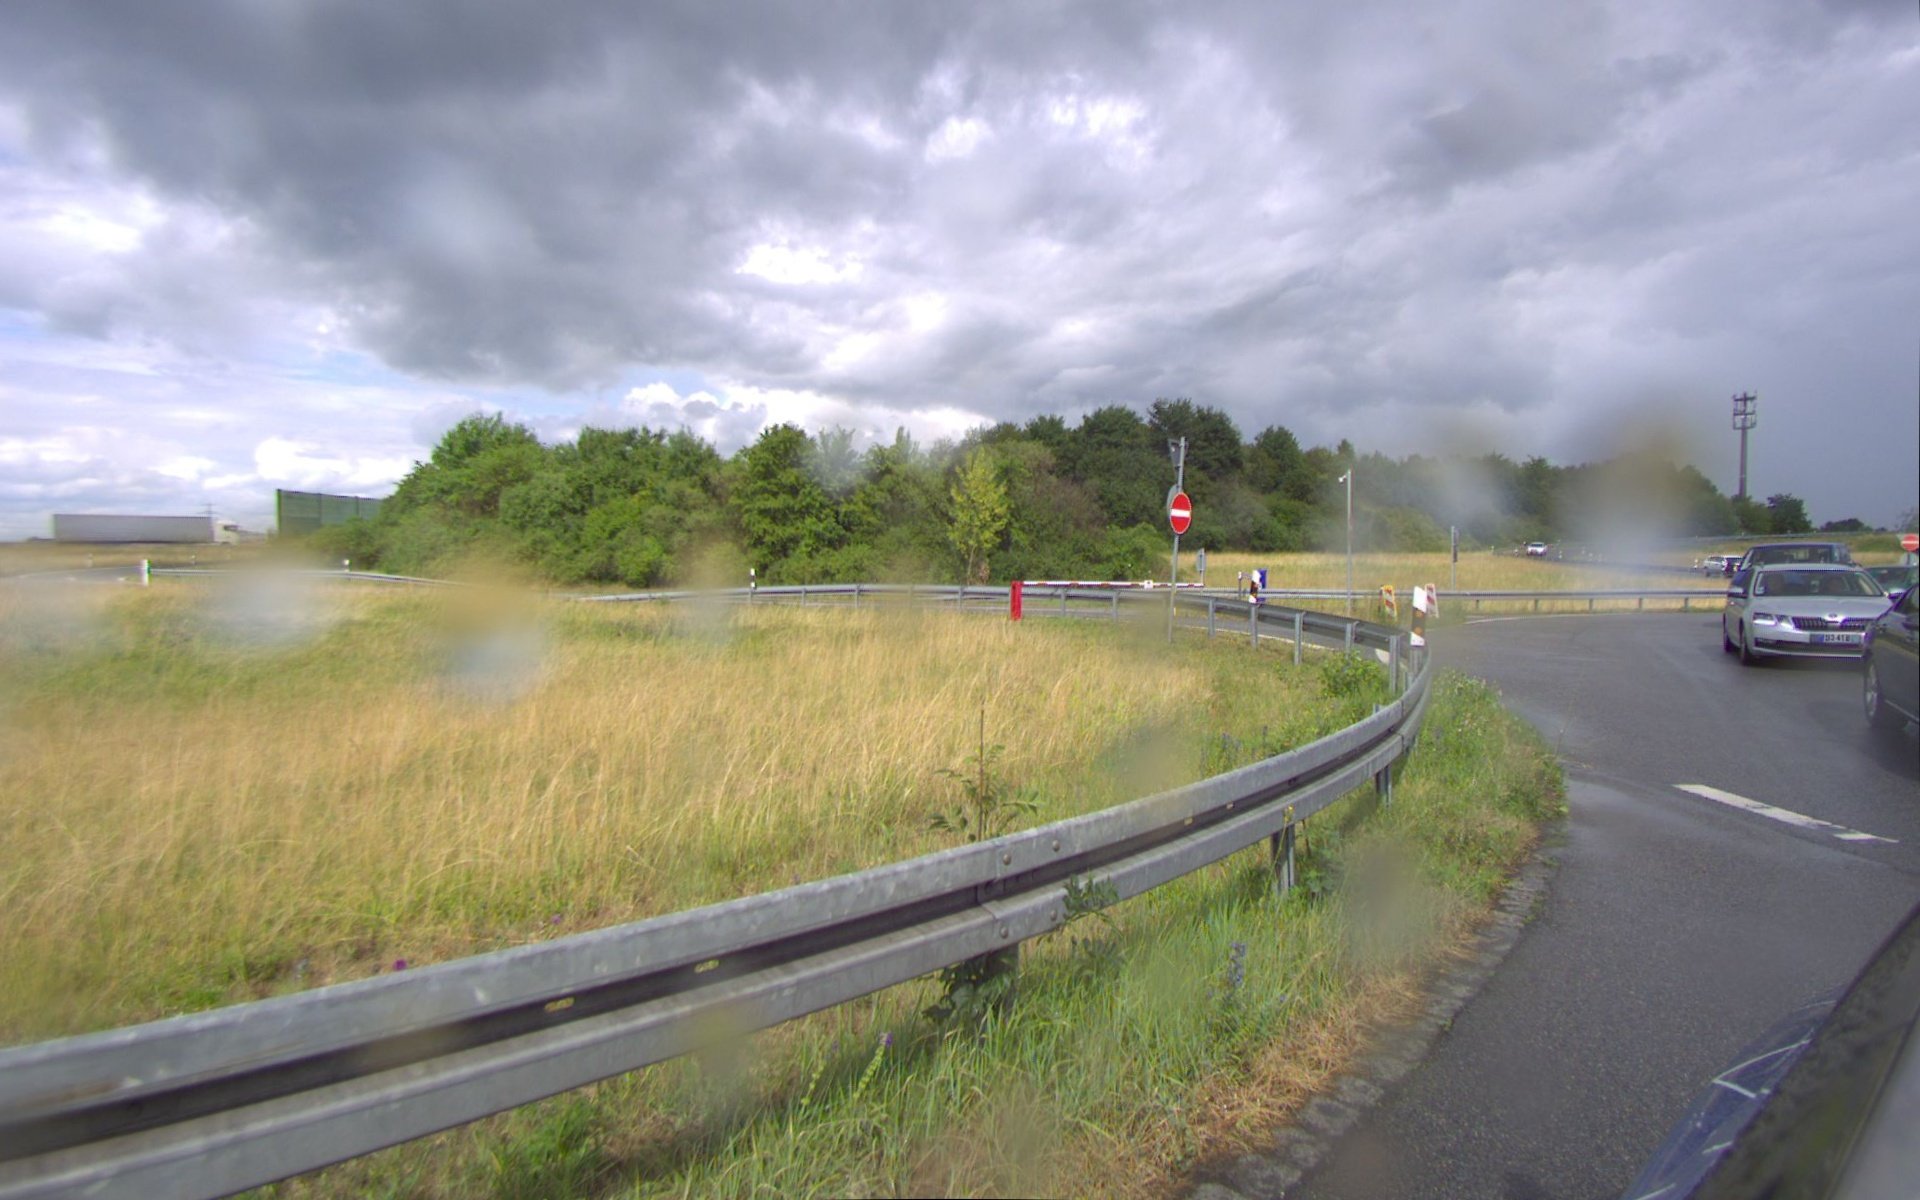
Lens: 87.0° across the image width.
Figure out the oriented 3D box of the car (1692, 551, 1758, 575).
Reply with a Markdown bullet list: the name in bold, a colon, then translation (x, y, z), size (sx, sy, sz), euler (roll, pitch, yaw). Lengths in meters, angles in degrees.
- **car**: translation (52.298, -2.555, 69.257), size (1.946, 1.555, 3.919), euler (1, 2, 10)

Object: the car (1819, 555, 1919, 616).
- **car**: translation (24.658, -0.427, 26.671), size (3.755, 1.502, 1.778), euler (-1, 2, -27)

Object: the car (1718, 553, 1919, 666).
- **car**: translation (12.421, 0.032, 14.823), size (1.785, 1.415, 4.299), euler (1, 2, 33)

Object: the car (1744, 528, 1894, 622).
- **car**: translation (20.241, -0.665, 23.746), size (5.585, 1.938, 1.891), euler (-4, 3, -41)

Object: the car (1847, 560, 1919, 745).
- **car**: translation (8.128, 0.410, 7.345), size (1.758, 1.408, 4.540), euler (1, 1, 31)
